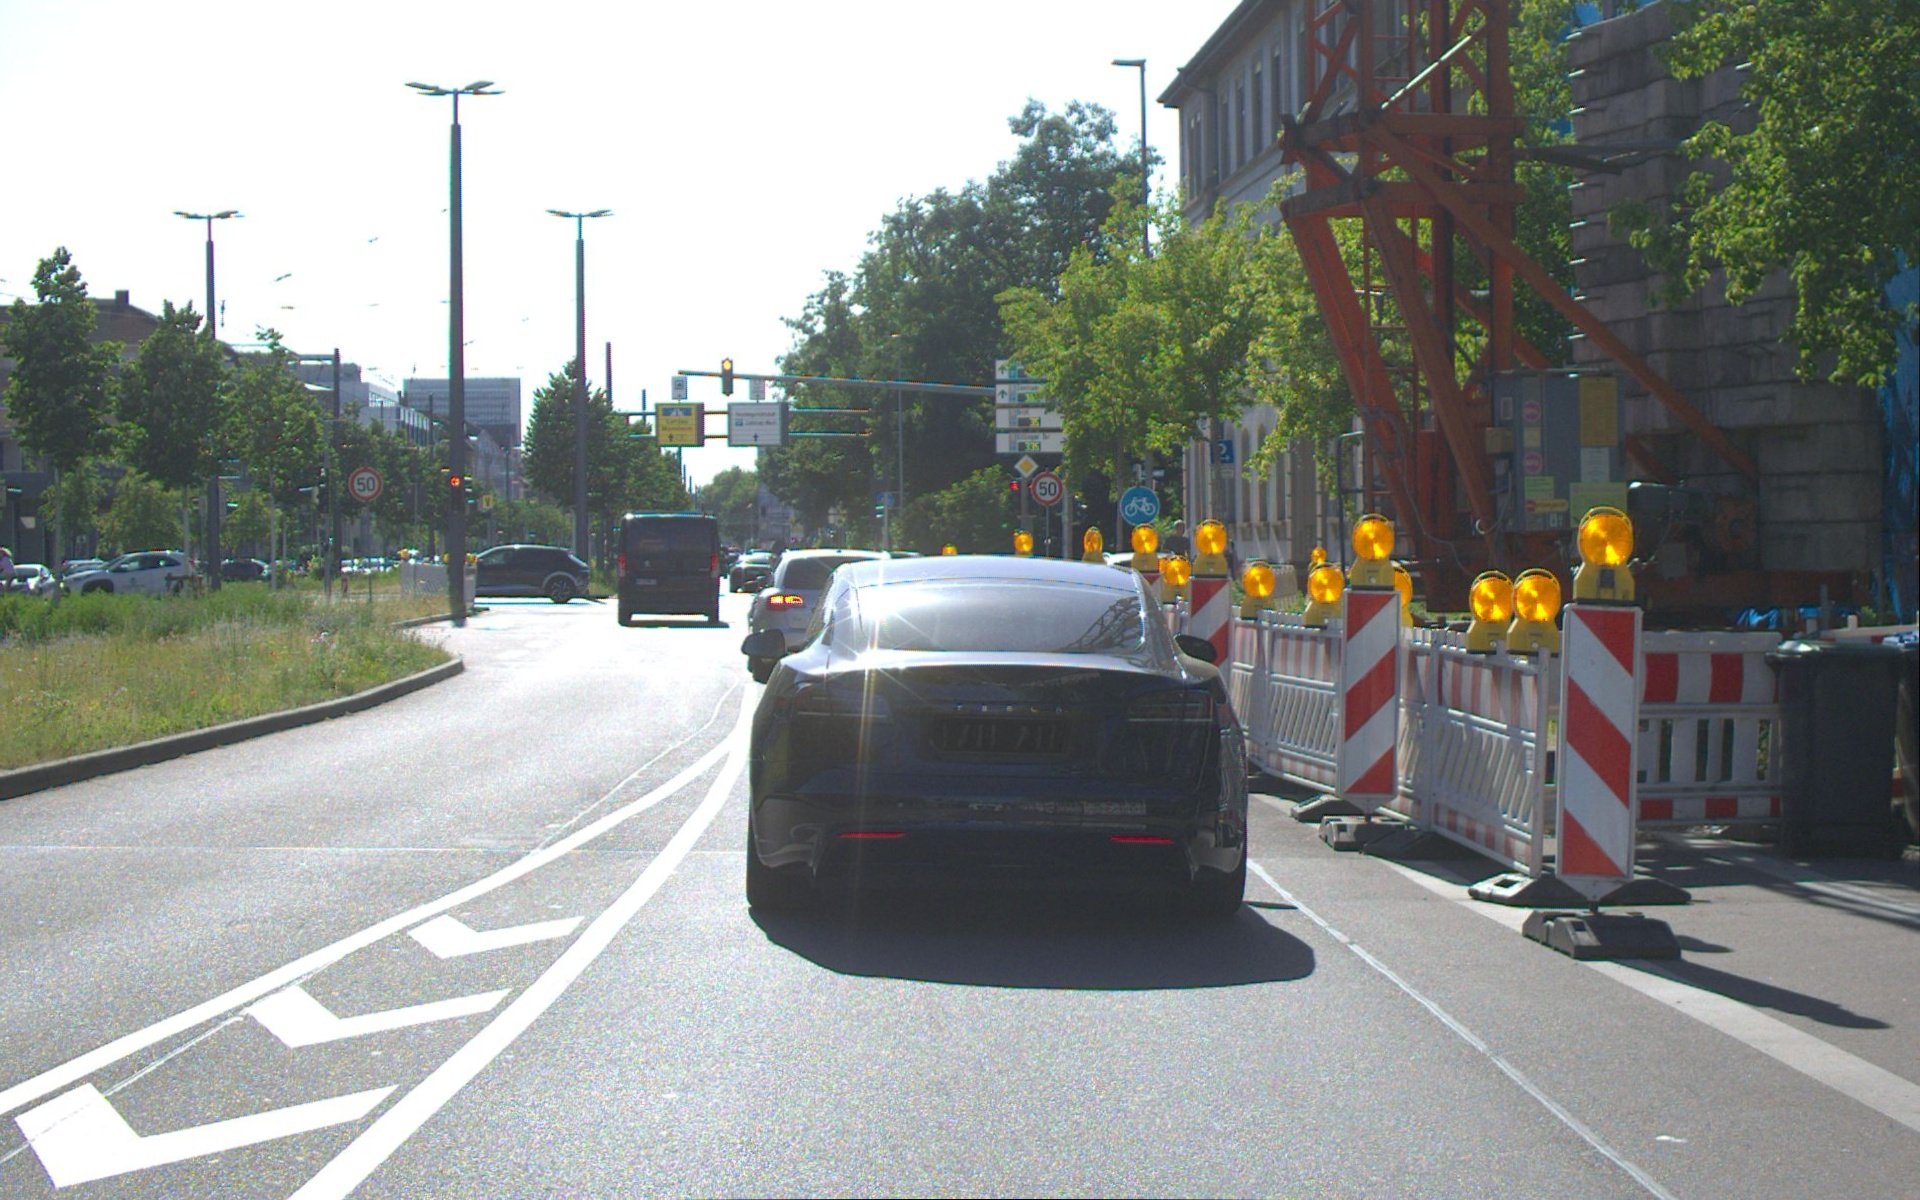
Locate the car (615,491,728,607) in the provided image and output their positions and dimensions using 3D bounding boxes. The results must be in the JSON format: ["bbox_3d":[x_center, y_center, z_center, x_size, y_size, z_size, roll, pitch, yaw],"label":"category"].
[{"bbox_3d":[-5.863,-1.066,70.060,2.217,2.259,4.485,0,1,-4],"label":"car"}]

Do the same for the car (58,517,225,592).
[{"bbox_3d":[-21.982,-1.233,92.347,3.972,1.911,1.915,-1,1,-27],"label":"car"}]

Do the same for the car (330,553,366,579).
[{"bbox_3d":[-39.972,-2.228,224.469,1.790,1.645,4.001,-1,1,-3],"label":"car"}]

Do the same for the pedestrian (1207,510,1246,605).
[{"bbox_3d":[5.211,-0.836,67.219,0.563,1.814,0.587,-4,1,-3],"label":"pedestrian"}]

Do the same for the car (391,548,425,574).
[{"bbox_3d":[-36.960,-2.627,230.336,1.808,1.645,4.001,-1,1,-3],"label":"car"}]

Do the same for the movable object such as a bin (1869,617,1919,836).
[{"bbox_3d":[5.012,0.618,17.292,0.595,1.054,0.730,-4,1,-2],"label":"movable object such as a bin"}]

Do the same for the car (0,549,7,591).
[{"bbox_3d":[-39.276,-1.161,136.728,1.790,1.645,4.001,-1,1,-3],"label":"car"}]

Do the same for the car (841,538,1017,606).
[{"bbox_3d":[-0.856,-0.791,95.924,4.515,1.786,1.999,-1,1,16],"label":"car"}]

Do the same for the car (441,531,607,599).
[{"bbox_3d":[-12.143,-0.976,95.851,4.511,1.786,2.001,-1,1,-7],"label":"car"}]

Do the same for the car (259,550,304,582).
[{"bbox_3d":[-36.422,-1.816,184.663,1.790,1.645,4.001,-1,1,-3],"label":"car"}]

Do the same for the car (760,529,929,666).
[{"bbox_3d":[-1.345,-0.077,38.431,1.747,1.422,4.839,0,1,-4],"label":"car"}]

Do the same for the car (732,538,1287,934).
[{"bbox_3d":[0.048,0.469,14.997,2.051,1.439,4.525,0,1,-4],"label":"car"}]

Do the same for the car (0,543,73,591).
[{"bbox_3d":[-33.090,-1.204,123.025,1.790,1.645,4.001,-1,1,-3],"label":"car"}]

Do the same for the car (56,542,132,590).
[{"bbox_3d":[-30.430,-1.211,120.918,1.790,1.645,4.001,-1,1,-3],"label":"car"}]

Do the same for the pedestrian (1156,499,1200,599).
[{"bbox_3d":[4.261,-1.001,67.176,0.658,1.906,0.587,-4,1,-3],"label":"pedestrian"}]

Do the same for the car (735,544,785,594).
[{"bbox_3d":[-7.593,-1.191,130.443,1.791,1.867,3.850,0,1,-5],"label":"car"}]

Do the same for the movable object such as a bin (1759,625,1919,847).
[{"bbox_3d":[4.356,0.665,17.048,0.587,1.054,0.730,0,1,-2],"label":"movable object such as a bin"}]

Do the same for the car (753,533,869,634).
[{"bbox_3d":[-2.343,-0.286,53.973,1.749,1.522,4.005,0,1,-3],"label":"car"}]
